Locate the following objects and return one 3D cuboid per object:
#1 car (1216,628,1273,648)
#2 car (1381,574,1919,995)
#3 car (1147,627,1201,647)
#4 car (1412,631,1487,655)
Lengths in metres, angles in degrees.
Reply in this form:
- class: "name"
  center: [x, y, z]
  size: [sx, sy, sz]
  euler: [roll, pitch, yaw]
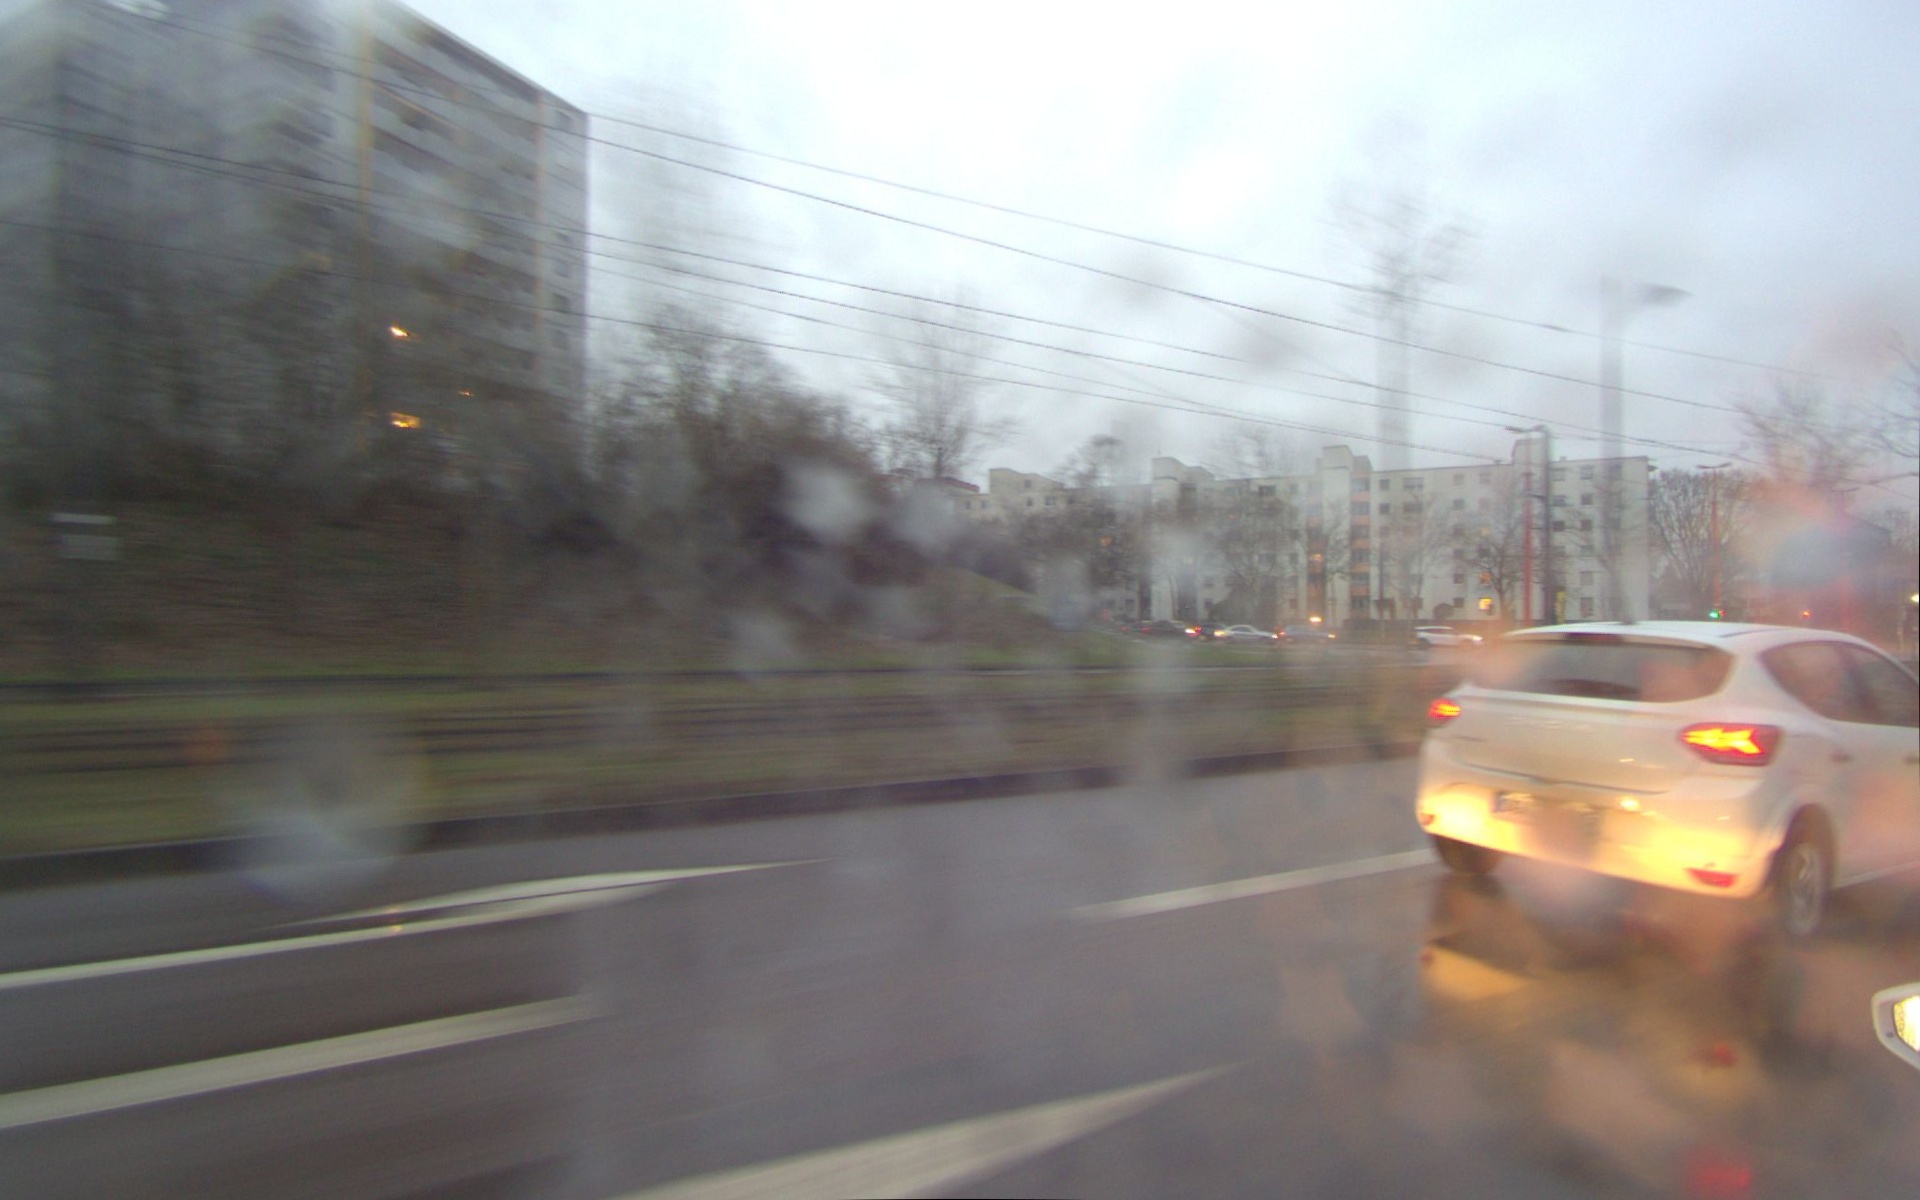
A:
- class: "car"
  center: [21.968, 2.914, 77.635]
  size: [3.931, 1.565, 1.708]
  euler: [-1, -2, 32]
- class: "car"
  center: [4.473, 0.784, 5.803]
  size: [4.100, 1.669, 1.705]
  euler: [1, -1, -31]
- class: "car"
  center: [17.175, 2.923, 80.614]
  size: [3.931, 1.565, 1.708]
  euler: [-1, -2, 32]
- class: "car"
  center: [32.854, 2.873, 67.488]
  size: [4.364, 1.565, 1.847]
  euler: [-1, -2, 32]
